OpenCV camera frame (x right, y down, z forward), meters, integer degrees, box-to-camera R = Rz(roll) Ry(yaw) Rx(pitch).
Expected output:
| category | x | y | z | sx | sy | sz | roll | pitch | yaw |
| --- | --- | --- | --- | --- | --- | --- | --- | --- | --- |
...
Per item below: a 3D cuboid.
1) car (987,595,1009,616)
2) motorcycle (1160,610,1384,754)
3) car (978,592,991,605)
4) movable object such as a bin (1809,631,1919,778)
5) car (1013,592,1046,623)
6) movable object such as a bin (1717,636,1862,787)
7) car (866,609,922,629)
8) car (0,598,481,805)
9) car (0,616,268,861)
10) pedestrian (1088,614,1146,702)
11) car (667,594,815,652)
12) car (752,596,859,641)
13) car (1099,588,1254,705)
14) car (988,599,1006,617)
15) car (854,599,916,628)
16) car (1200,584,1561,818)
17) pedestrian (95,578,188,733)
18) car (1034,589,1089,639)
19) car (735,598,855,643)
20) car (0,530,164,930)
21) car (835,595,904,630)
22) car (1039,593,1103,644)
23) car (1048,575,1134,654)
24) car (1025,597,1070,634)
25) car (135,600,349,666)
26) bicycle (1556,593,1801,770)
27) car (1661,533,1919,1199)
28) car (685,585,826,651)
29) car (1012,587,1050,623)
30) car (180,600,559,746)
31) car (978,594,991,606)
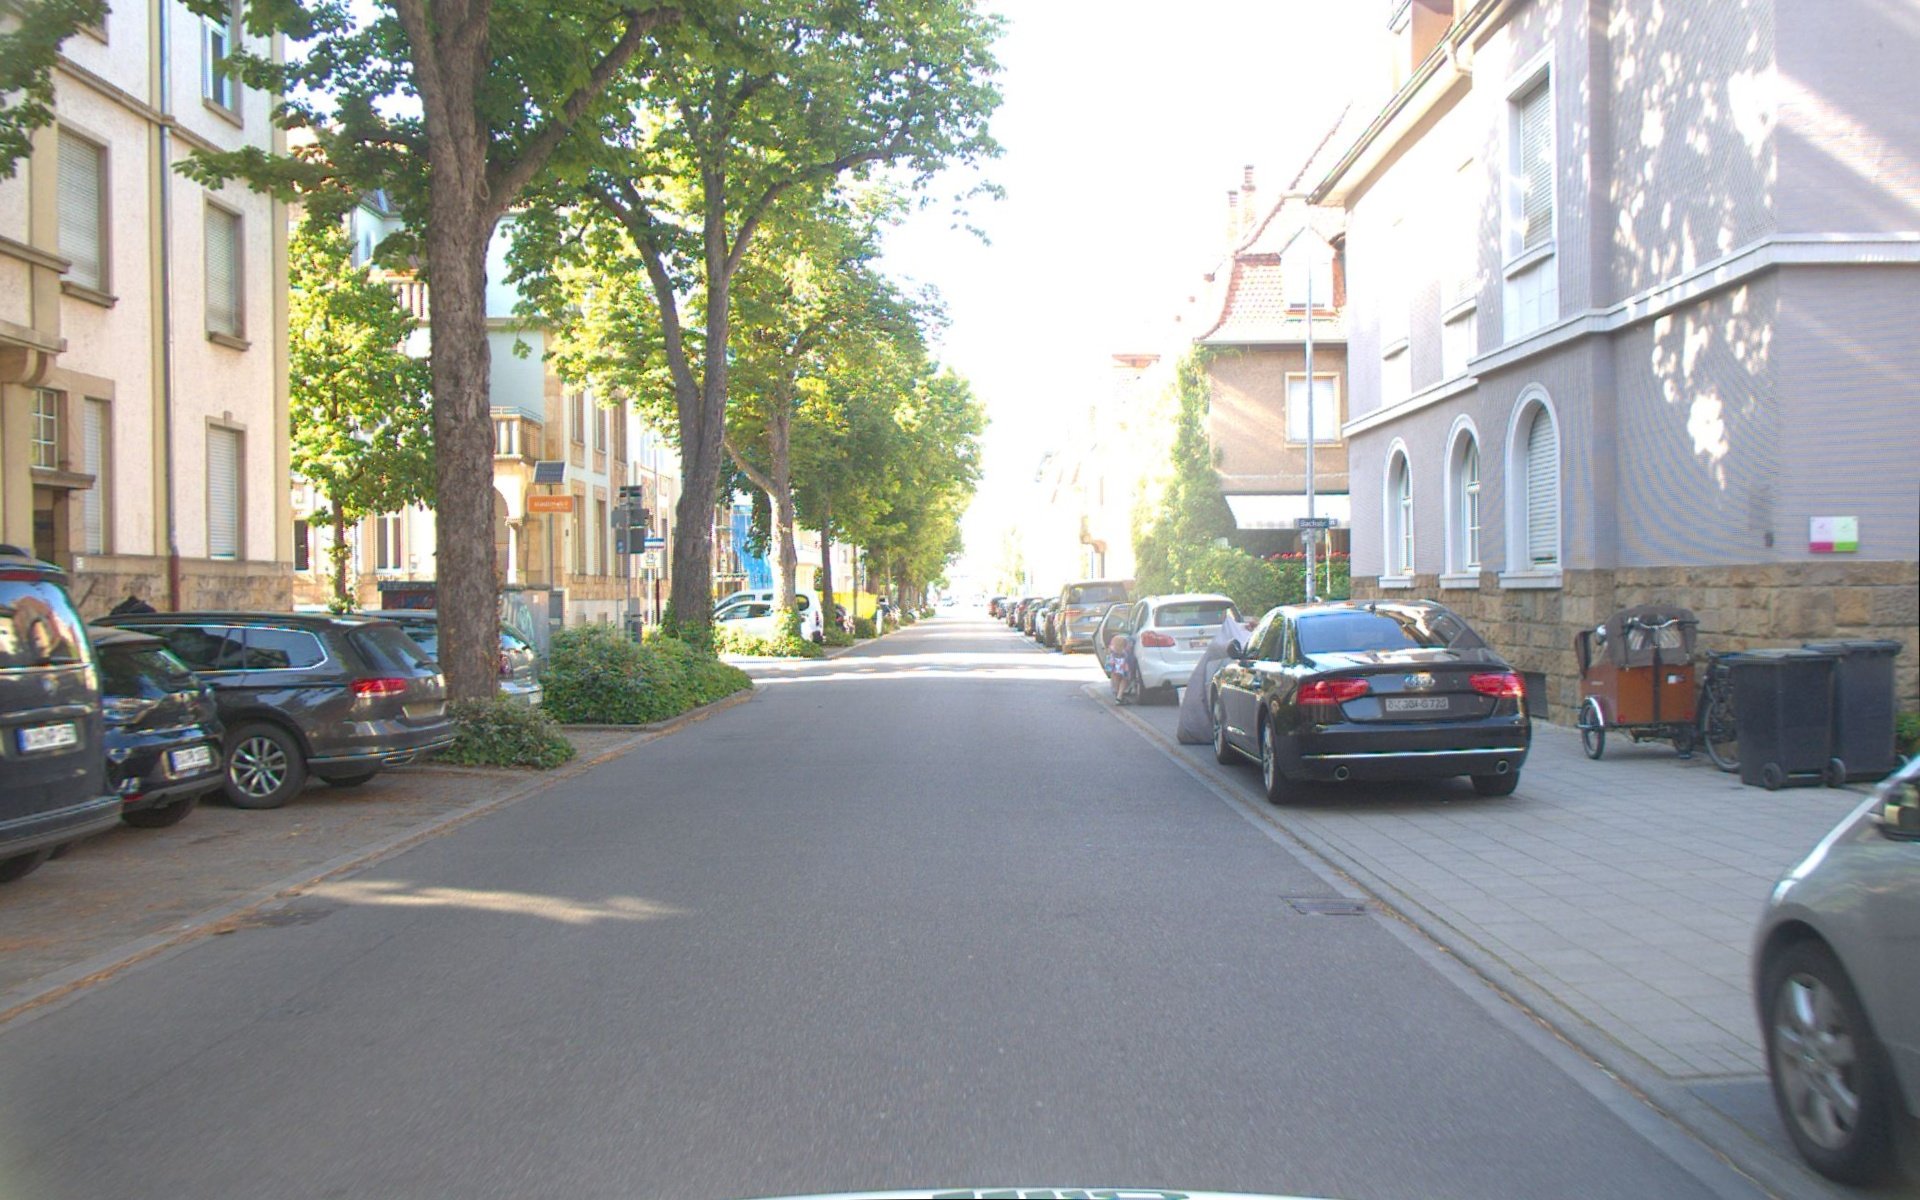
| category | x | y | z | sx | sy | sz | roll | pitch | yaw |
| --- | --- | --- | --- | --- | --- | --- | --- | --- | --- |
| car | 3.104 | 0.428 | 133.724 | 1.734 | 1.660 | 3.867 | -1 | 0 | 1 |
| motorcycle | 3.288 | 0.830 | 17.417 | 2.149 | 1.362 | 0.921 | 2 | 1 | 23 |
| car | 3.349 | -0.201 | 225.715 | 1.734 | 1.660 | 3.867 | -1 | 0 | 1 |
| movable object such as a bin | 6.893 | 0.775 | 12.547 | 0.557 | 1.058 | 0.617 | -2 | 0 | -2 |
| car | 3.867 | 0.412 | 92.156 | 1.734 | 1.660 | 3.867 | -1 | 0 | 1 |
| movable object such as a bin | 6.233 | 0.822 | 12.469 | 0.634 | 1.058 | 0.828 | -2 | 0 | -2 |
| car | -5.013 | 1.422 | 125.357 | 3.904 | 1.434 | 1.702 | -1 | 0 | 20 |
| car | -6.354 | 0.765 | 13.318 | 4.440 | 1.529 | 1.891 | 0 | 0 | -1 |
| car | -6.872 | 0.855 | 10.841 | 3.899 | 1.462 | 1.828 | 0 | 0 | -2 |
| pedestrian | 2.339 | 0.854 | 24.640 | 0.710 | 1.279 | 0.645 | -2 | 0 | -7 |
| car | -6.034 | 0.638 | 45.888 | 3.908 | 1.490 | 1.796 | 1 | -1 | -4 |
| car | -5.800 | 0.677 | 61.933 | 3.912 | 1.579 | 1.834 | -1 | 0 | -8 |
| car | 3.244 | 0.655 | 25.526 | 1.665 | 1.566 | 4.154 | -3 | 0 | -2 |
| car | 3.629 | 0.768 | 162.824 | 1.734 | 1.660 | 3.867 | -1 | 0 | 1 |
| car | -4.965 | 0.884 | 110.319 | 3.923 | 1.765 | 1.895 | 2 | 1 | 2 |
| car | 3.200 | 0.681 | 13.585 | 1.816 | 1.519 | 4.608 | -2 | 0 | 1 |
| pedestrian | -9.134 | 0.607 | 18.482 | 0.619 | 1.688 | 0.832 | 0 | 0 | 0 |
| car | 3.500 | 0.452 | 57.415 | 1.752 | 1.646 | 3.867 | -1 | 0 | 1 |
| car | -5.689 | 0.698 | 57.273 | 3.904 | 1.495 | 1.864 | -1 | 1 | 2 |
| car | -6.498 | 0.629 | 8.520 | 3.899 | 1.888 | 1.828 | 0 | 0 | -1 |
| car | -5.415 | 0.741 | 98.706 | 3.912 | 2.049 | 1.996 | -1 | 0 | -8 |
| car | 3.404 | 0.556 | 51.416 | 1.656 | 1.423 | 3.805 | -4 | 0 | 0 |
| car | 3.502 | 0.357 | 44.876 | 1.866 | 1.903 | 4.673 | -4 | 0 | 0 |
| car | 3.599 | 0.617 | 68.689 | 1.734 | 1.480 | 3.867 | -1 | 0 | 1 |
| car | -17.194 | 0.767 | 39.730 | 4.315 | 1.490 | 1.802 | -1 | 0 | 1 |
| bicycle | 6.046 | 0.636 | 14.105 | 1.060 | 1.361 | 2.250 | -2 | 0 | -1 |
| car | 3.082 | 0.603 | 3.175 | 1.752 | 1.628 | 4.000 | -3 | 0 | 1 |
| car | -5.920 | 0.536 | 48.199 | 3.908 | 1.791 | 1.796 | 1 | -1 | -4 |
| car | 3.388 | 0.235 | 79.599 | 1.734 | 1.660 | 3.867 | -1 | 0 | 1 |
| car | -6.454 | 0.774 | 18.336 | 3.599 | 1.513 | 1.641 | 0 | 0 | -1 |
| car | 3.430 | 0.052 | 232.833 | 1.734 | 1.660 | 3.867 | -1 | 0 | 1 |
